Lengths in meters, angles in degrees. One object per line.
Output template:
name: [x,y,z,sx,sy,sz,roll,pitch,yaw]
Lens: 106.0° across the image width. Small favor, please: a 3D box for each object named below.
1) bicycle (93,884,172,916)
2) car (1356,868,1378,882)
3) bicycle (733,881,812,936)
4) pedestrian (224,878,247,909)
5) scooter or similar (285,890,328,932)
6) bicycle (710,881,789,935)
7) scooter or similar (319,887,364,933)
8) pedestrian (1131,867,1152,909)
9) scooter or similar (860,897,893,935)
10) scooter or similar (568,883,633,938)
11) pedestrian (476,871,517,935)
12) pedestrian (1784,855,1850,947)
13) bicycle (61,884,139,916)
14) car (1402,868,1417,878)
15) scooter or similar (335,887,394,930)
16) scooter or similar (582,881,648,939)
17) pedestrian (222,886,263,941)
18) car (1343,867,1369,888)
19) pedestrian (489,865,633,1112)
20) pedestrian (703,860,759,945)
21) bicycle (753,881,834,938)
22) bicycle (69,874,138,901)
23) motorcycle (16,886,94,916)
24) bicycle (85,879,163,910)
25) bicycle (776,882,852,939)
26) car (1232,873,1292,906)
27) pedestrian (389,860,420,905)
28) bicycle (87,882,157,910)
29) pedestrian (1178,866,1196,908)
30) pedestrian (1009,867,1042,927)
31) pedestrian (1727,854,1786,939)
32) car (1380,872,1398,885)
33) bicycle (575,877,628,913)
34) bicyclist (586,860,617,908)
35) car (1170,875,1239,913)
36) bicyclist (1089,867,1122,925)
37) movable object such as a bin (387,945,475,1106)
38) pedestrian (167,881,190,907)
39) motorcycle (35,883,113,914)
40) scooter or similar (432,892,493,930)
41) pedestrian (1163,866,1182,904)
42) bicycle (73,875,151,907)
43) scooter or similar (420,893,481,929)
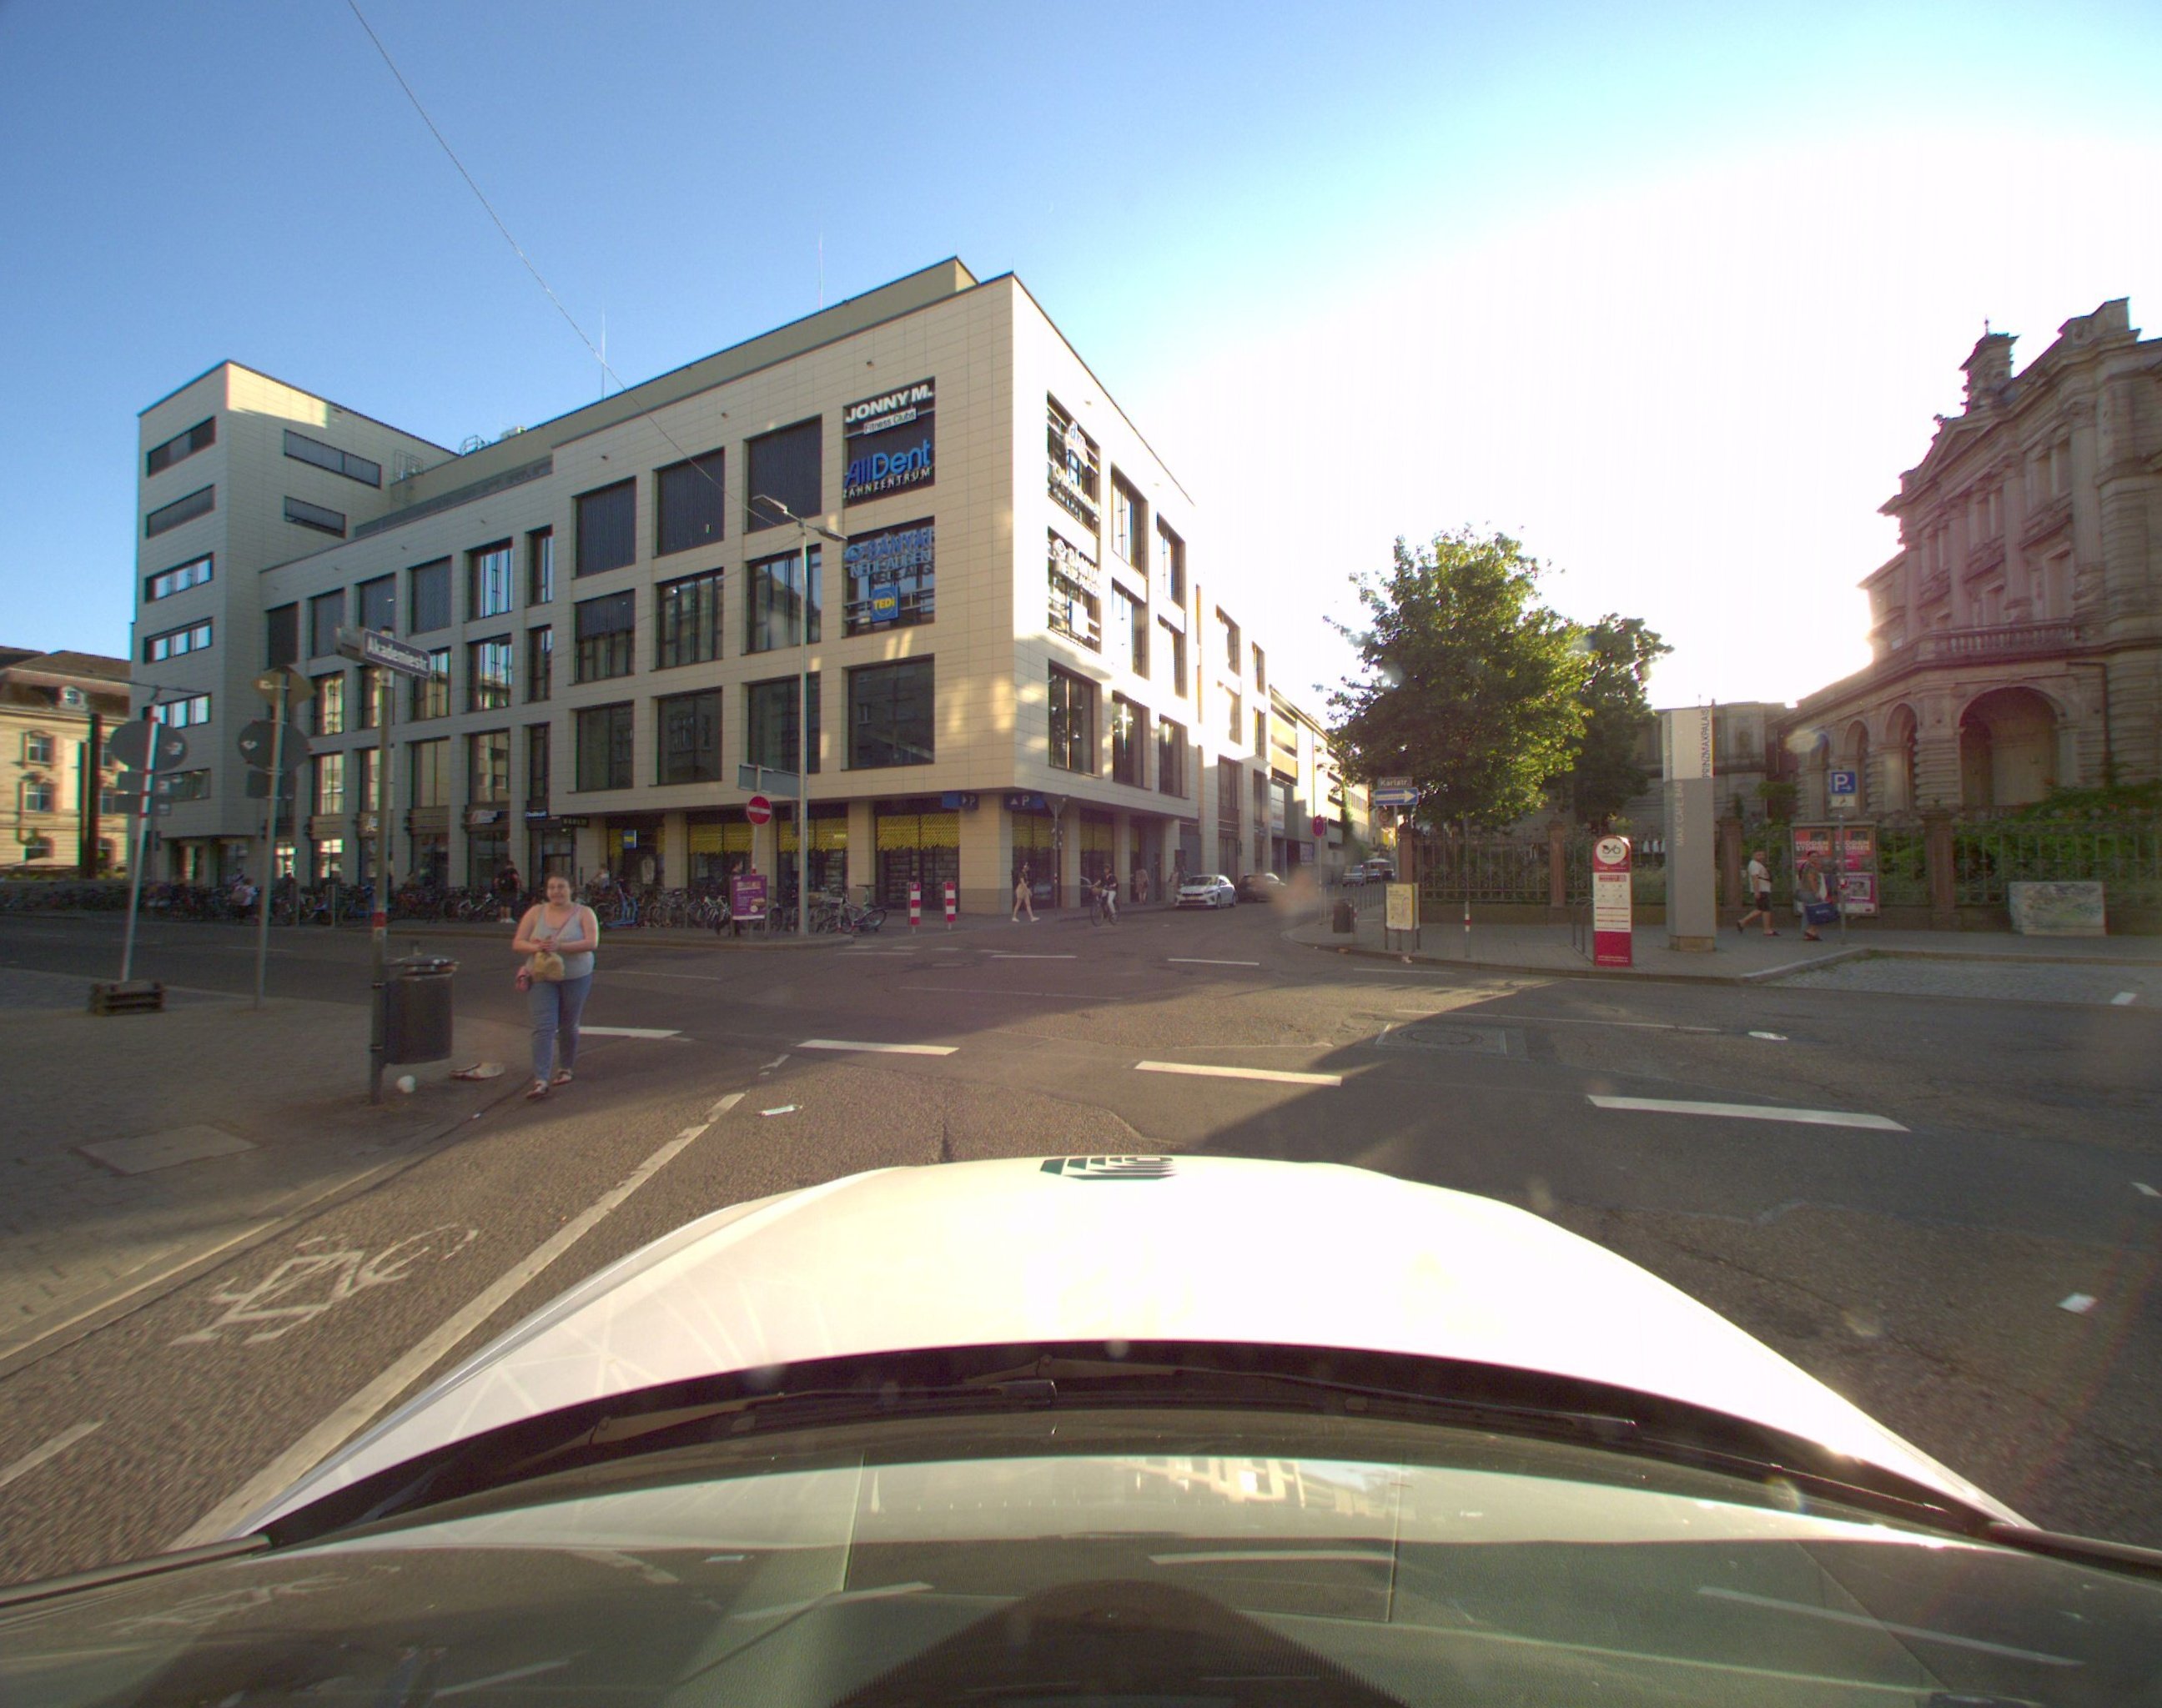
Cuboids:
bicycle: [-38.301,1.834,32.914,0.508,1.255,1.987,0,-2,17]
car: [30.792,2.241,87.617,1.866,1.453,4.022,-1,-1,24]
bicycle: [-7.418,1.286,19.698,0.507,1.255,1.990,0,-2,24]
pedestrian: [-47.519,2.217,45.755,0.636,1.695,0.688,0,-1,25]
scooter or similar: [-22.628,1.644,23.784,1.255,1.181,0.519,0,-2,28]
bicycle: [-8.113,1.290,20.048,0.507,1.255,1.989,0,-2,23]
scooter or similar: [-20.820,1.568,22.936,1.255,1.242,0.519,0,-2,28]
pedestrian: [2.553,1.430,34.469,0.666,1.745,0.651,-1,-2,26]
scooter or similar: [-5.056,1.525,20.202,0.383,0.884,0.774,0,-2,24]
scooter or similar: [-11.102,1.288,18.863,0.383,1.212,1.278,0,-2,24]
pedestrian: [-15.912,1.325,22.172,0.636,1.695,0.688,-1,-1,28]
pedestrian: [13.838,0.863,15.334,0.698,1.670,0.644,0,0,12]
bicycle: [-40.752,1.884,33.878,0.508,1.255,1.987,0,-2,17]
car: [52.736,3.045,130.583,1.975,1.684,4.023,0,-2,26]
scooter or similar: [-21.734,1.645,24.723,0.383,1.242,1.278,0,-2,24]
scooter or similar: [-10.603,1.261,18.563,0.383,1.260,1.278,0,-2,24]
pedestrian: [-26.609,1.875,25.843,0.636,1.695,0.688,0,-1,25]
car: [26.020,2.181,77.085,1.866,1.912,4.774,-1,-1,24]
pedestrian: [-3.738,0.892,5.869,0.808,1.613,0.727,1,-2,-34]
pedestrian: [-7.057,0.966,16.454,0.869,1.658,0.617,0,-1,-9]
bicycle: [-6.776,1.280,19.305,0.507,1.255,1.990,0,-2,26]
bicycle: [-46.071,1.574,38.417,0.508,1.255,1.987,0,-2,17]
motorcycle: [-44.093,1.997,35.019,0.508,1.255,1.987,0,-2,17]
bicycle: [-39.006,1.632,33.226,0.508,1.255,1.987,0,-2,17]
bicycle: [-6.205,1.278,19.070,0.507,1.255,1.989,0,-2,22]
car: [9.458,1.796,42.268,1.866,1.598,4.717,-1,-1,28]
pedestrian: [-26.024,1.090,31.334,0.636,1.695,0.688,0,-1,25]
bicycle: [-44.077,1.901,37.469,0.508,1.255,1.987,0,-2,17]
pedestrian: [4.769,1.472,36.647,0.666,1.837,0.651,0,-1,23]
pedestrian: [-1.627,1.242,23.819,0.639,1.723,0.837,1,-2,-30]
pedestrian: [13.636,0.846,16.452,0.698,1.670,0.644,0,0,12]
car: [37.785,2.981,99.907,1.866,1.453,4.022,-1,-1,24]
bicycle: [-17.165,1.448,29.141,1.954,1.255,0.616,0,-2,25]
bicyclist: [-17.134,1.070,29.127,0.636,1.695,0.688,0,-1,26]
car: [5.251,1.610,34.146,1.761,1.453,4.254,-1,-1,24]
bicyclist: [0.683,1.170,22.892,0.652,1.571,0.868,0,-2,22]
movable object such as a bin: [-4.621,1.199,5.804,0.360,1.064,0.354,0,-2,-16]
pedestrian: [-50.843,2.231,45.893,0.636,1.425,0.688,0,-1,25]
motorcycle: [-42.741,1.870,34.609,0.508,1.255,1.987,0,-2,17]
scooter or similar: [-16.885,1.541,22.250,0.383,0.992,1.278,0,-2,24]
pedestrian: [4.153,1.402,36.906,0.666,1.675,0.651,0,-1,23]
bicycle: [-40.036,1.513,33.690,0.508,1.255,1.987,0,-2,17]
scooter or similar: [-17.471,1.568,22.577,0.383,0.942,1.278,0,-2,24]
